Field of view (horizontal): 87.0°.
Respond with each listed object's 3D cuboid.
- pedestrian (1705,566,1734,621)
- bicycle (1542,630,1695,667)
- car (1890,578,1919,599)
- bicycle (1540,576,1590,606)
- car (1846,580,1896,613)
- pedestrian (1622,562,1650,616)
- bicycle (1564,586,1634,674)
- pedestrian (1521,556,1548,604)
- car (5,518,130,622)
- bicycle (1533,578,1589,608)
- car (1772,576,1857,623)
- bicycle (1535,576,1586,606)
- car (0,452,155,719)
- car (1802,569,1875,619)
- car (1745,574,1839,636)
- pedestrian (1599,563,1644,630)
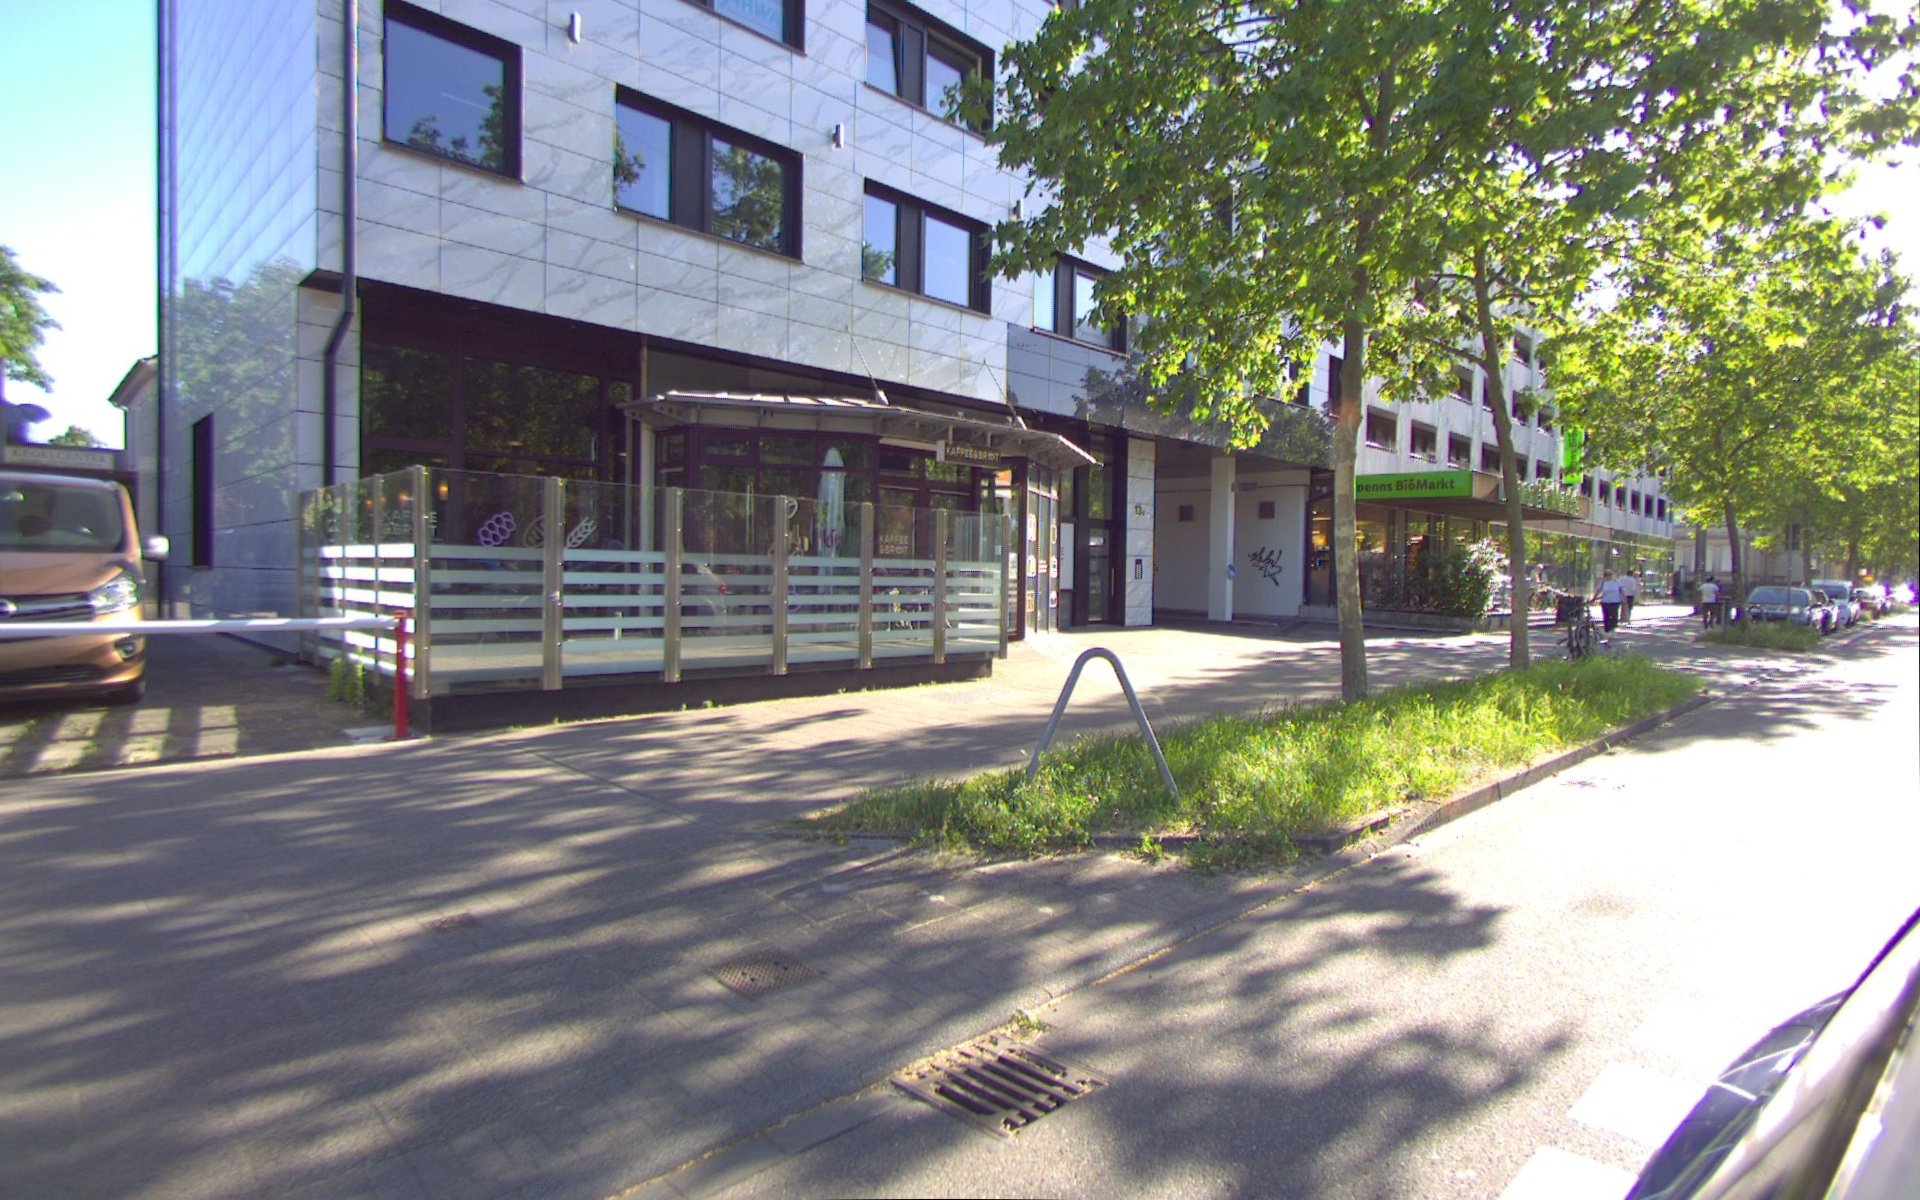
[{"bbox_3d":[24.142,-0.215,32.174,0.560,1.725,1.035,3,2,45],"label":"pedestrian"},{"bbox_3d":[9.529,0.687,14.660,1.366,0.357,1.610,-1,3,-44],"label":"bicycle"},{"bbox_3d":[74.131,-0.894,79.205,4.204,1.584,1.835,-1,1,-45],"label":"car"},{"bbox_3d":[24.166,-0.369,40.429,0.573,1.068,1.710,2,3,-17],"label":"bicycle"},{"bbox_3d":[45.290,-0.211,50.292,1.674,1.455,3.632,5,5,44],"label":"car"},{"bbox_3d":[22.459,-0.379,33.627,0.864,1.766,0.560,-1,2,-45],"label":"pedestrian"},{"bbox_3d":[9.265,0.397,14.684,0.785,1.147,1.825,2,2,33],"label":"bicycle"},{"bbox_3d":[21.532,-0.752,37.946,0.606,1.735,0.609,7,5,21],"label":"pedestrian"},{"bbox_3d":[-16.201,-0.571,18.321,1.568,1.692,3.614,-1,3,-44],"label":"car"},{"bbox_3d":[21.227,-0.244,35.778,0.573,0.927,1.656,4,2,-18],"label":"bicycle"},{"bbox_3d":[27.824,-0.055,32.912,1.762,1.435,4.625,1,1,45],"label":"car"},{"bbox_3d":[23.588,-0.354,39.754,0.573,1.068,1.710,3,3,-17],"label":"bicycle"},{"bbox_3d":[-8.916,-0.291,9.362,1.881,2.008,4.904,-1,5,-44],"label":"car"},{"bbox_3d":[34.435,-0.255,39.640,4.321,1.814,1.766,-1,3,-44],"label":"car"},{"bbox_3d":[22.950,0.080,27.857,3.935,1.569,1.566,-1,2,-44],"label":"car"},{"bbox_3d":[16.685,-0.101,25.528,0.853,1.632,0.699,0,4,-43],"label":"pedestrian"}]
